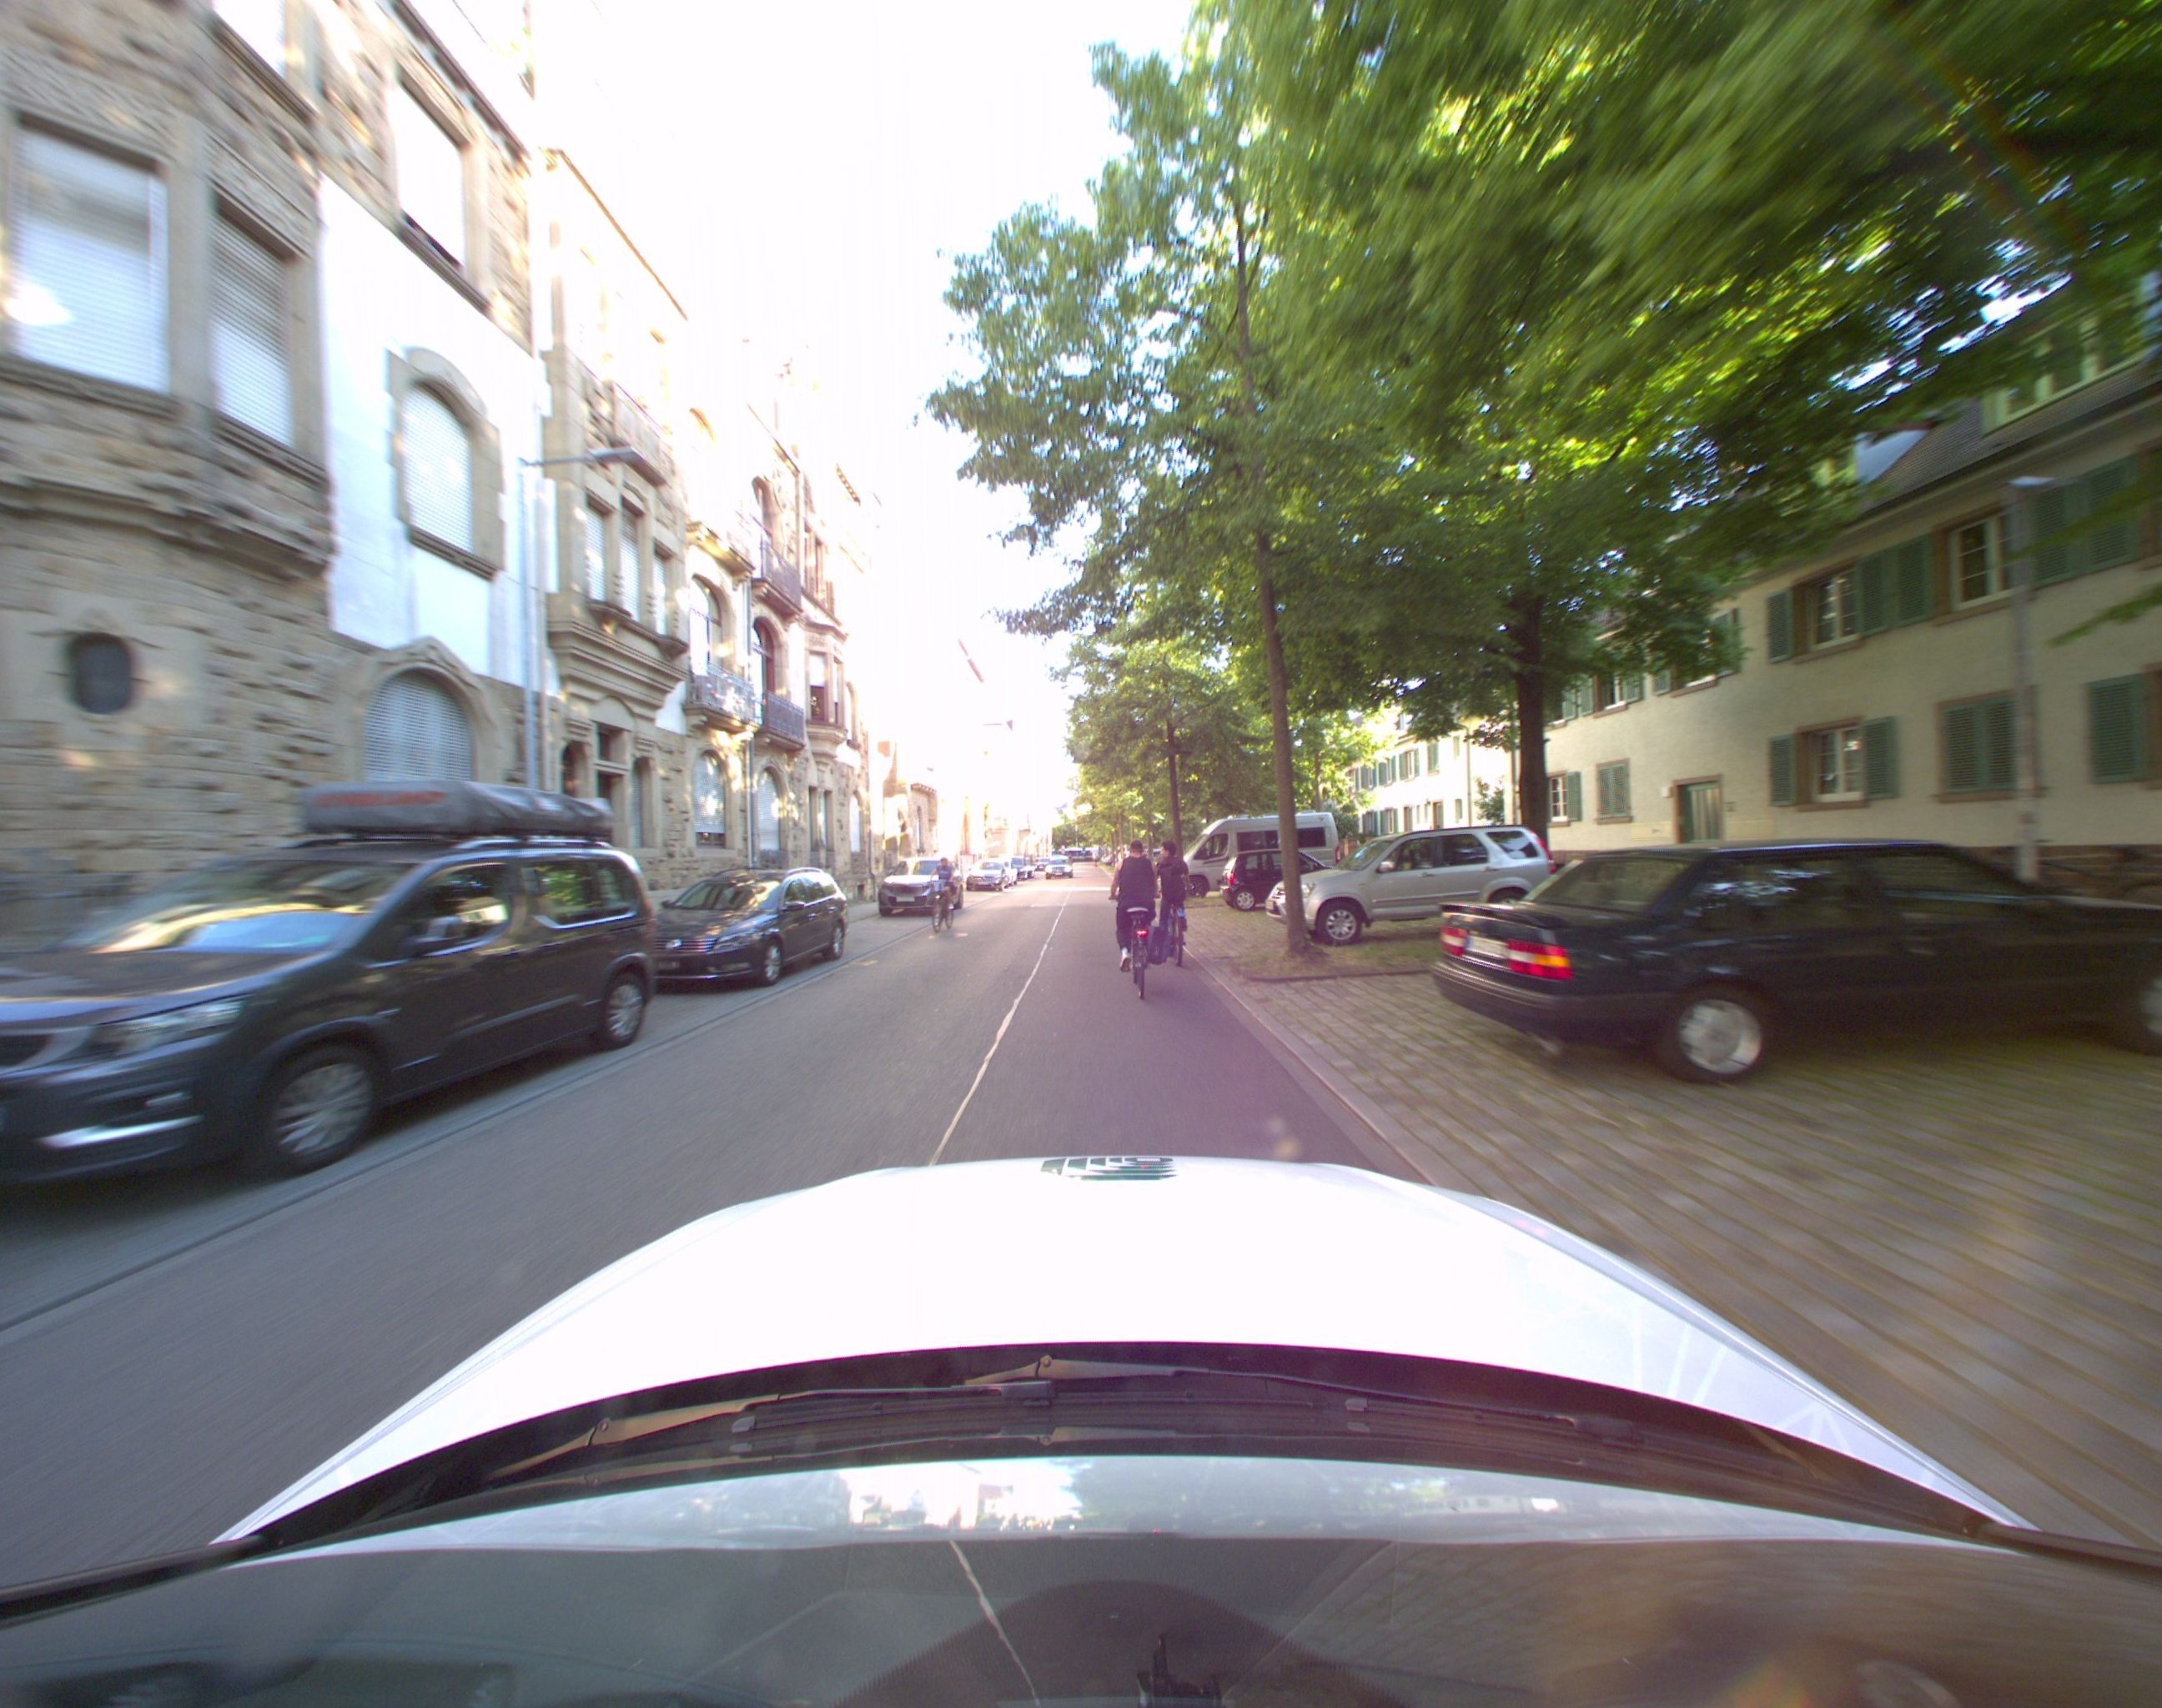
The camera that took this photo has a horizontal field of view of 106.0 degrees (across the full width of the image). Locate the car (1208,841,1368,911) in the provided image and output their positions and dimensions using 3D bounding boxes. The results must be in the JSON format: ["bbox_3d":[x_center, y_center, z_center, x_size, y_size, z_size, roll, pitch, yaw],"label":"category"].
[{"bbox_3d":[5.071,0.548,20.280,3.490,1.472,1.751,-3,-1,-1],"label":"car"}]

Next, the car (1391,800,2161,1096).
[{"bbox_3d":[5.027,0.520,5.741,4.880,1.442,1.941,-4,-1,-2],"label":"car"}]

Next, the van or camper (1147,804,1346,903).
[{"bbox_3d":[5.037,0.003,25.404,5.559,2.536,2.267,-4,-1,-2],"label":"van or camper"}]

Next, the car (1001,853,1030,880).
[{"bbox_3d":[-4.386,0.868,55.249,1.626,1.665,3.967,-2,-1,-1],"label":"car"}]

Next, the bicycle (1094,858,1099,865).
[{"bbox_3d":[1.936,0.941,99.993,0.539,0.828,1.919,-2,-1,1],"label":"bicycle"}]

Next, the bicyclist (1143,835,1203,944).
[{"bbox_3d":[1.341,0.512,12.014,0.716,1.527,0.972,-2,-1,0],"label":"bicyclist"}]

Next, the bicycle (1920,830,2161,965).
[{"bbox_3d":[9.581,0.373,7.958,0.627,1.163,1.930,-2,0,-7],"label":"bicycle"}]

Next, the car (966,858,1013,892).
[{"bbox_3d":[-4.450,0.989,40.031,1.749,1.517,4.114,2,-1,0],"label":"car"}]

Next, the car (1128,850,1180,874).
[{"bbox_3d":[6.111,0.699,68.645,4.228,1.797,1.855,-3,-1,1],"label":"car"}]

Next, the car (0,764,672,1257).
[{"bbox_3d":[-4.847,0.633,5.499,1.963,1.974,4.495,-1,0,-2],"label":"car"}]

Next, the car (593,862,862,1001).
[{"bbox_3d":[-4.789,0.957,11.927,1.723,1.574,4.710,-2,-1,2],"label":"car"}]

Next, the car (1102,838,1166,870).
[{"bbox_3d":[6.176,-0.001,95.359,7.306,3.282,2.223,-3,-1,1],"label":"car"}]

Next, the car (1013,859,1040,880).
[{"bbox_3d":[-4.031,1.134,60.818,1.610,1.482,4.018,2,-1,0],"label":"car"}]

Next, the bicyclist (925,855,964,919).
[{"bbox_3d":[-3.053,0.717,18.258,0.663,1.345,1.059,-3,0,-3],"label":"bicyclist"}]

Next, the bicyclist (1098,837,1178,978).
[{"bbox_3d":[0.642,0.595,9.473,0.705,1.527,0.969,-2,-1,-7],"label":"bicyclist"}]

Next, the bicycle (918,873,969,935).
[{"bbox_3d":[-3.045,1.067,18.295,0.751,1.178,2.618,-3,0,-3],"label":"bicycle"}]

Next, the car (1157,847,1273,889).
[{"bbox_3d":[5.436,0.577,33.478,4.486,1.453,1.816,-3,-1,1],"label":"car"}]

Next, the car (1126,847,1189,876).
[{"bbox_3d":[5.414,0.543,58.014,4.228,1.840,1.855,-3,-1,1],"label":"car"}]

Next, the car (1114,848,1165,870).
[{"bbox_3d":[5.610,0.492,78.641,4.740,1.780,1.855,-3,-1,1],"label":"car"}]

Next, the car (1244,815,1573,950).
[{"bbox_3d":[5.109,0.410,13.156,4.464,1.669,1.941,-5,1,-2],"label":"car"}]

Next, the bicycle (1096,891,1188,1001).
[{"bbox_3d":[0.653,1.002,9.478,0.695,1.073,1.964,-2,-1,-6],"label":"bicycle"}]

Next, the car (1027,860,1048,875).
[{"bbox_3d":[-4.622,1.488,86.327,1.988,1.486,3.998,-2,-1,-1],"label":"car"}]

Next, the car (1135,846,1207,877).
[{"bbox_3d":[5.565,0.484,50.605,4.228,1.647,1.855,-3,-1,1],"label":"car"}]

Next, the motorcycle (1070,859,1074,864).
[{"bbox_3d":[-1.443,1.136,128.072,0.549,0.801,1.307,-2,0,-2],"label":"motorcycle"}]

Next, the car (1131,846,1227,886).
[{"bbox_3d":[4.625,0.583,38.722,4.233,1.606,1.752,-3,-1,-3],"label":"car"}]

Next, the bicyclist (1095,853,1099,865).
[{"bbox_3d":[1.920,0.617,99.869,0.415,1.350,0.430,-2,-2,0],"label":"bicyclist"}]

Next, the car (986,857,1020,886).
[{"bbox_3d":[-4.339,0.976,45.629,1.486,1.517,3.775,2,-1,0],"label":"car"}]

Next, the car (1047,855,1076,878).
[{"bbox_3d":[-1.421,0.876,57.388,1.892,1.486,4.377,-2,-1,-3],"label":"car"}]

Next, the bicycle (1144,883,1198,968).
[{"bbox_3d":[1.294,1.000,12.028,0.553,1.073,1.968,-2,0,0],"label":"bicycle"}]

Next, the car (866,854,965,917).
[{"bbox_3d":[-4.709,0.883,23.798,2.044,1.622,4.392,-2,-1,-2],"label":"car"}]
